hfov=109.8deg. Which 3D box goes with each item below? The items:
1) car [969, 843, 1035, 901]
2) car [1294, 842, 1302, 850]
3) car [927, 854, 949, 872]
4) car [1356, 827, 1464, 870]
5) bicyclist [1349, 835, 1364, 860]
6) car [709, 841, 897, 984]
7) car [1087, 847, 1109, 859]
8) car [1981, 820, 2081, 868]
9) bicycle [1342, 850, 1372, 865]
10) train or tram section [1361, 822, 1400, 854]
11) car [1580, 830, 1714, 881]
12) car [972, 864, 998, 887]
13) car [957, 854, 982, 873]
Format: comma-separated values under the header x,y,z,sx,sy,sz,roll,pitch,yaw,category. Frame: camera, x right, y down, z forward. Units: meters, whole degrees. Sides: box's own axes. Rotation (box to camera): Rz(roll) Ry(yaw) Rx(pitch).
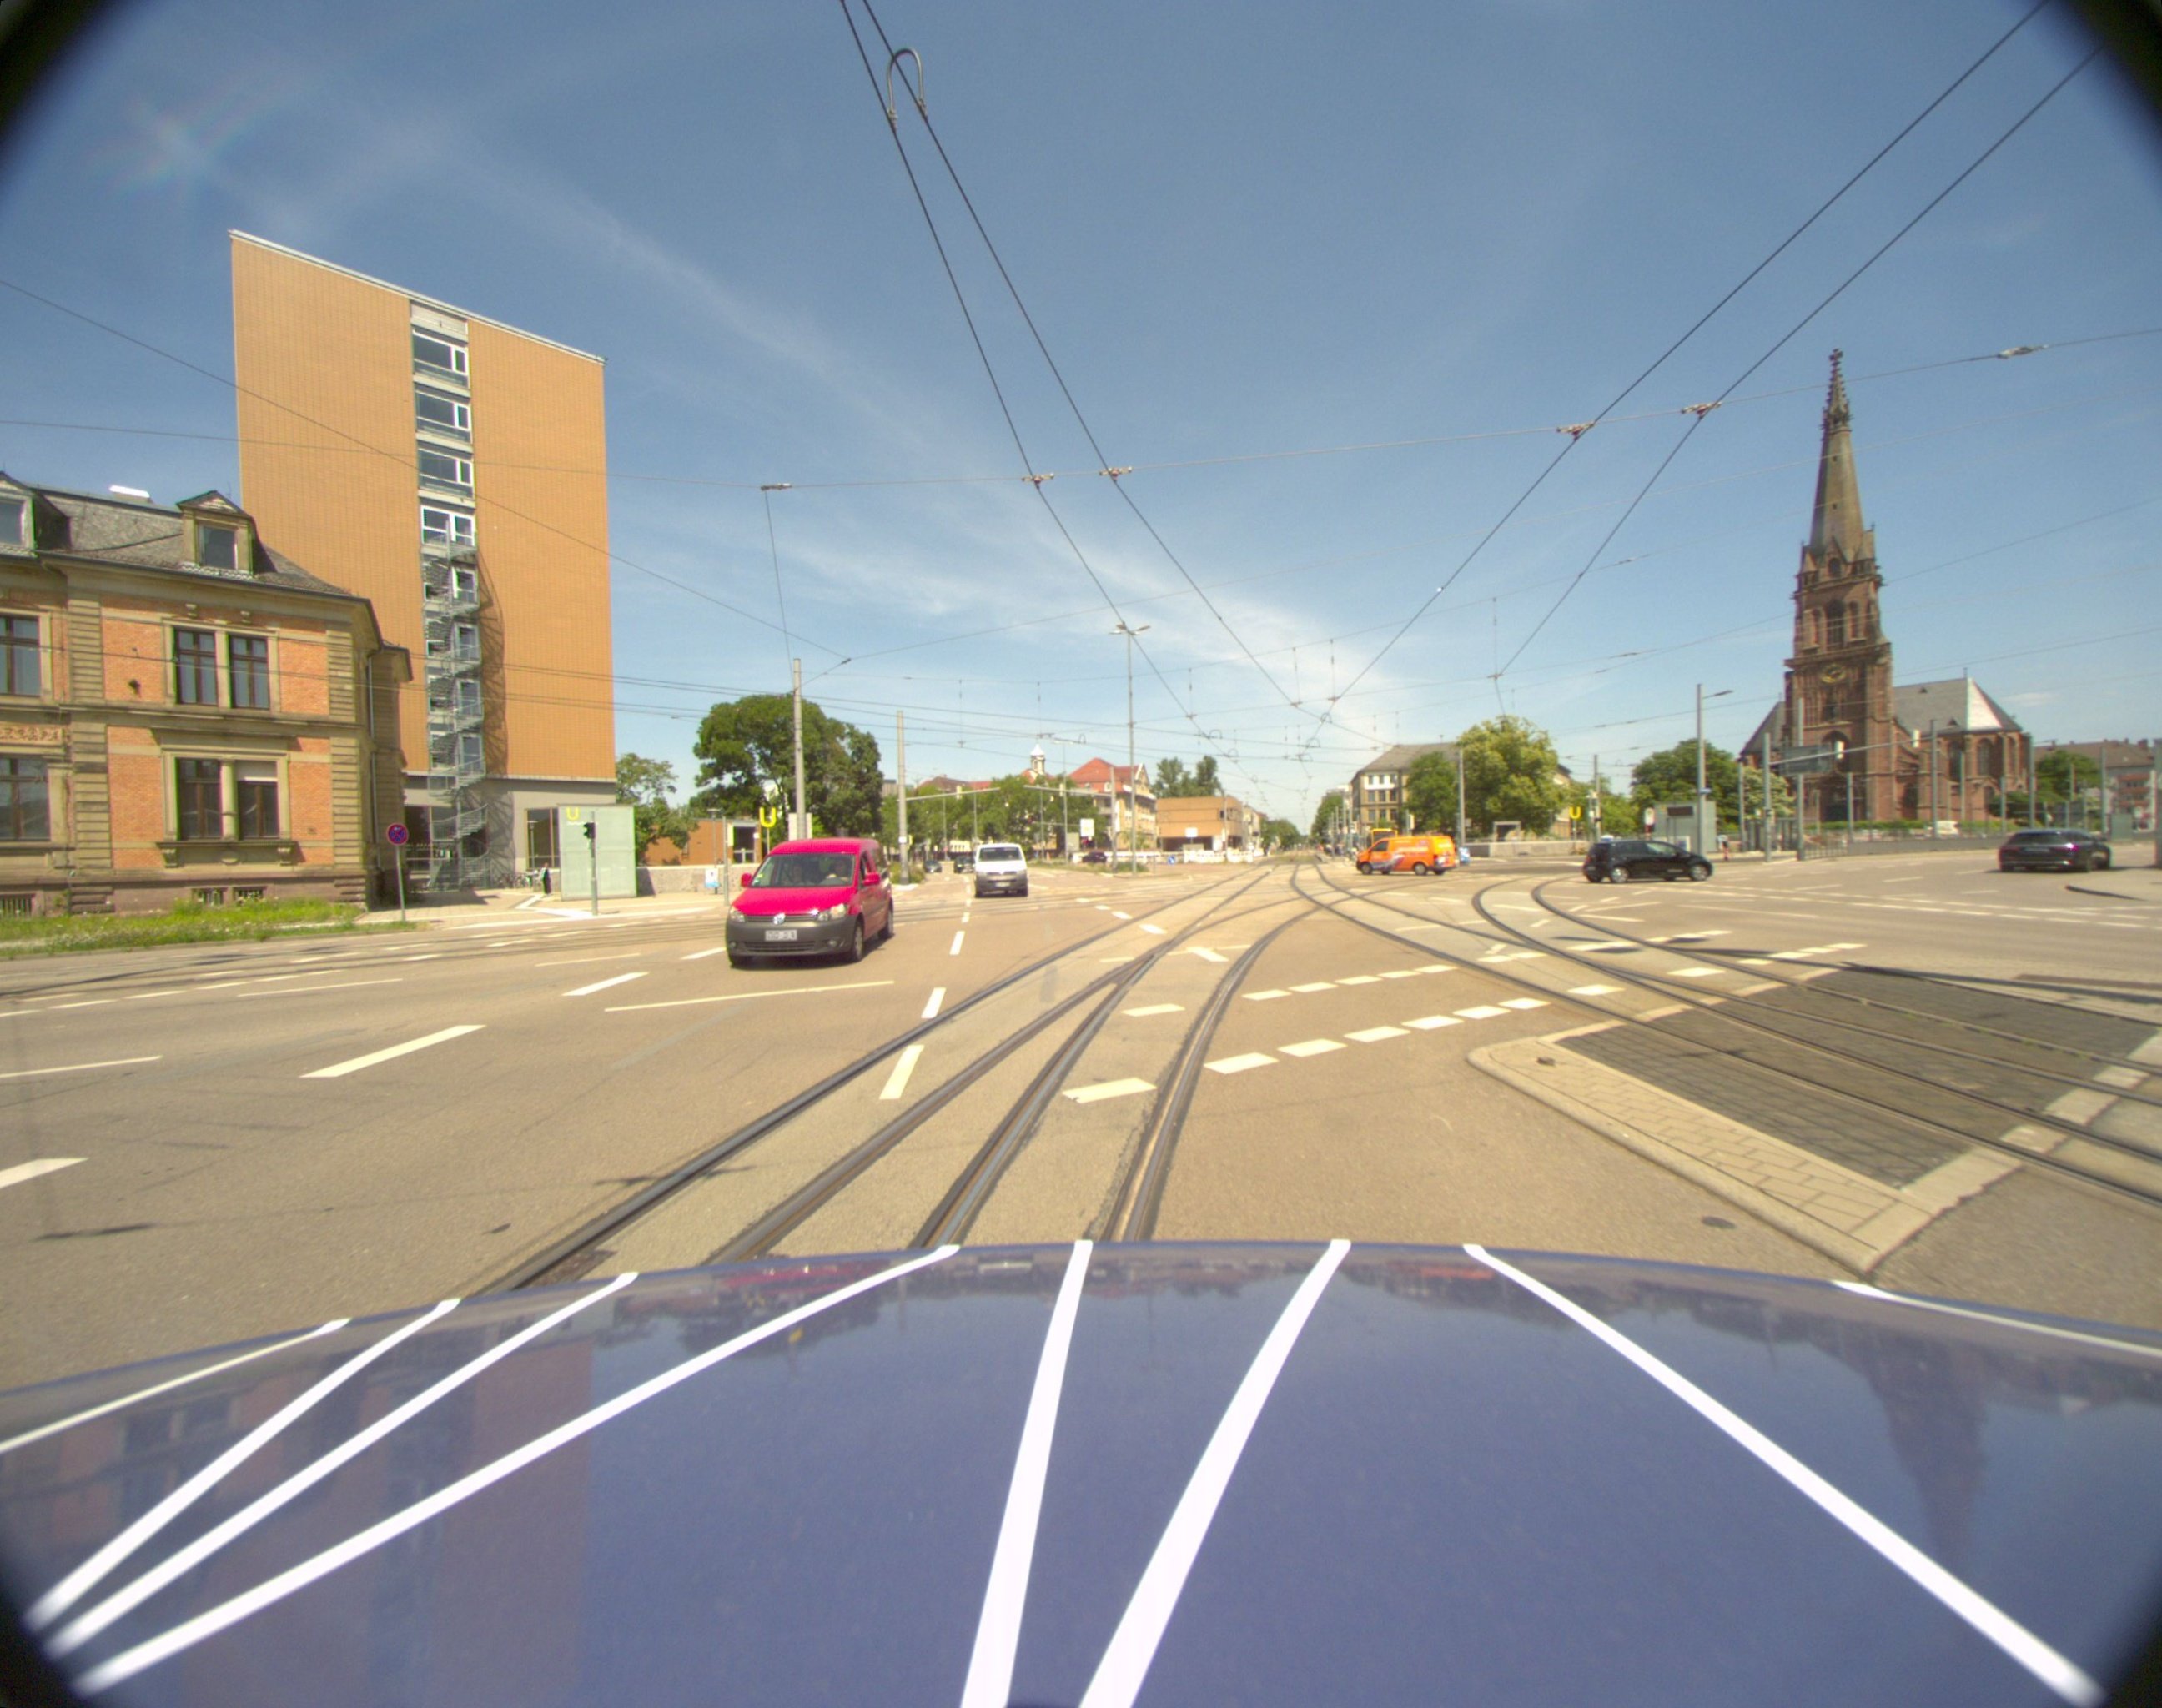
x,y,z,sx,sy,sz,roll,pitch,yaw,category
-3.008,0.605,28.155,1.876,1.954,3.818,-2,1,-14,car
44.121,-1.555,154.647,1.439,1.587,4.004,-1,1,15,car
-15.575,0.926,82.656,2.001,1.830,3.995,-2,0,-14,car
16.596,-0.251,38.543,2.004,2.002,4.583,-2,1,-38,car
19.451,-0.458,53.683,0.812,1.678,0.528,-2,1,1,bicyclist
-4.103,0.748,11.945,1.756,1.802,4.095,-2,1,-6,car
2.139,-0.066,95.946,1.540,1.450,2.981,-2,1,-24,car
32.882,-0.368,26.269,4.006,1.521,1.775,-2,1,-33,car
19.463,0.223,53.623,1.905,0.973,0.528,-2,1,0,bicycle
32.300,-1.712,82.219,2.839,3.195,9.118,-1,1,15,train or tram section
19.019,0.041,25.626,3.382,1.565,1.335,-2,1,8,car
-6.359,1.404,50.370,1.572,1.346,3.456,-2,1,-7,car
-10.907,0.901,74.420,2.001,1.714,3.995,-2,0,-14,car
